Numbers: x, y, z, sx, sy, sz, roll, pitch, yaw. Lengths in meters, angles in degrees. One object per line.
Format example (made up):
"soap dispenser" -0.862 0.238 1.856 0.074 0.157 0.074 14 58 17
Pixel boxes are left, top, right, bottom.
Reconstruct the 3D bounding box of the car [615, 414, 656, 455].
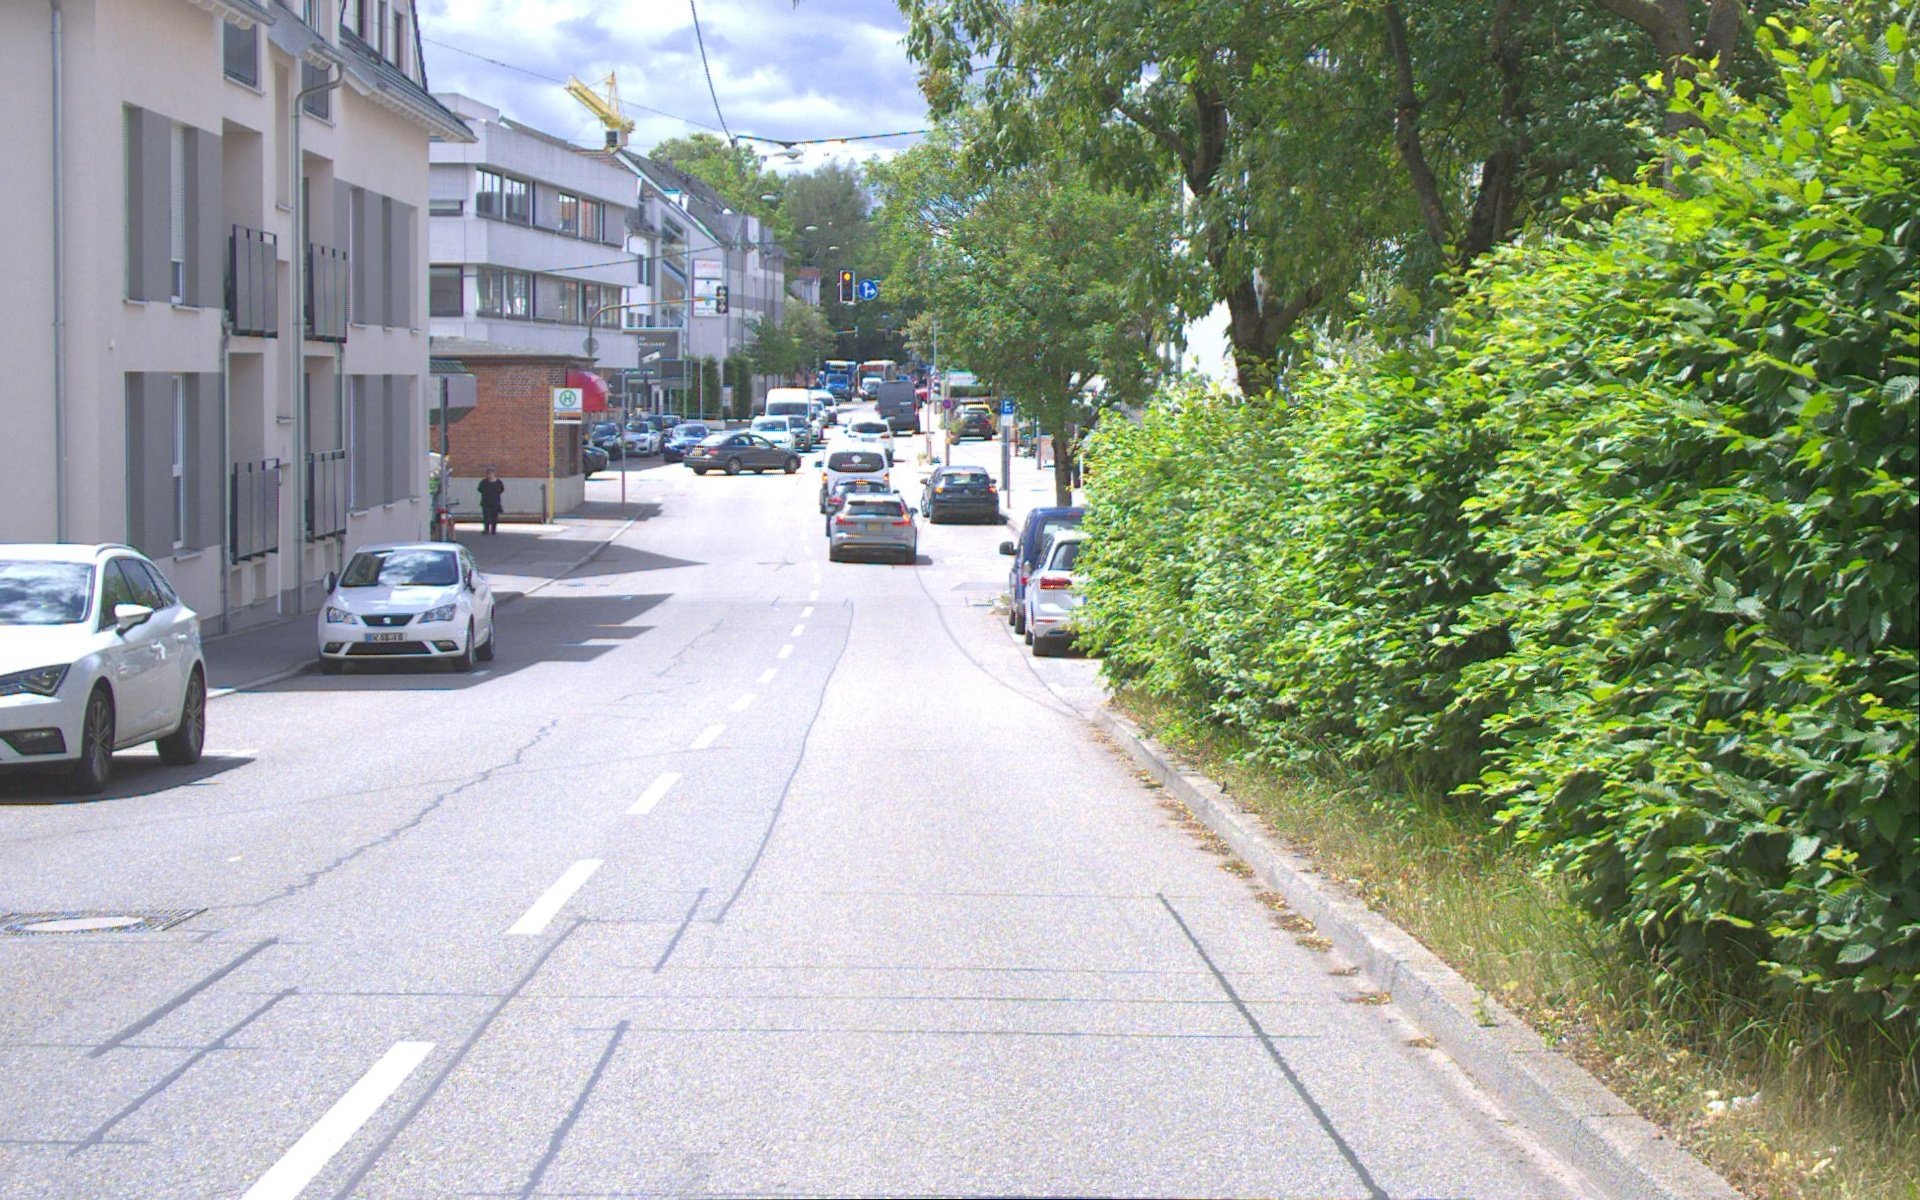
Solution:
"car" -13.017 -6.632 138.064 1.384 1.535 3.399 1 1 -1

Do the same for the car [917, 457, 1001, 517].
"car" -0.045 -2.989 90.525 1.752 1.366 4.002 1 4 -7

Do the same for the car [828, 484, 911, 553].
"car" -1.957 -1.795 74.783 1.744 1.412 4.001 1 2 -1

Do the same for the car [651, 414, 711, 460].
"car" -10.817 -6.333 133.652 1.873 1.634 4.000 3 2 1

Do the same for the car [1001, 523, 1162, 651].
"car" 1.513 -0.208 44.206 1.786 1.504 4.365 2 2 -1

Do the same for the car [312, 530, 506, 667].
"car" -6.215 -0.053 39.098 1.647 1.414 3.699 2 2 -1

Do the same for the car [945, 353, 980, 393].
"car" 0.141 -12.391 187.828 1.801 2.007 4.000 1 1 -1

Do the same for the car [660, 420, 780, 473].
"car" -8.054 -5.154 115.429 3.648 1.609 1.576 2 2 -28

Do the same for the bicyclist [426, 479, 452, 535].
"bicyclist" -11.181 -2.006 73.807 0.458 1.175 0.625 1 3 -1

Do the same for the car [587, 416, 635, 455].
"car" -13.477 -6.344 132.803 1.551 1.371 3.399 1 1 -1

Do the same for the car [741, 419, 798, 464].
"car" -7.576 -6.296 136.934 1.873 1.634 4.000 3 2 1

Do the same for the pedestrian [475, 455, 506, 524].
"pedestrian" -11.070 -2.602 81.065 0.628 1.597 0.563 1 2 -13

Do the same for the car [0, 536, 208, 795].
"car" -5.841 0.323 21.062 1.697 1.385 3.866 1 1 -2

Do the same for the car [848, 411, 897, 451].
"car" -3.432 -6.627 135.070 1.888 1.503 4.000 0 1 -1

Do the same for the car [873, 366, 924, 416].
"car" -3.140 -10.570 174.194 2.436 2.310 5.327 2 2 -1

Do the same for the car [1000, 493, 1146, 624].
"car" 1.589 -0.638 49.853 1.844 1.761 4.515 2 2 -1

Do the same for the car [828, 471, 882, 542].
"car" -2.543 -2.285 83.682 1.273 1.522 3.051 1 5 -2

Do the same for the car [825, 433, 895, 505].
"car" -2.713 -3.569 93.915 1.836 1.855 3.851 2 2 -1

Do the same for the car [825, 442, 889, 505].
"car" -3.123 -3.856 104.797 1.836 1.855 3.851 2 2 -1

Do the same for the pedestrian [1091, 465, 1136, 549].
"pedestrian" 3.099 -1.876 69.405 0.737 1.642 0.616 4 0 -2
